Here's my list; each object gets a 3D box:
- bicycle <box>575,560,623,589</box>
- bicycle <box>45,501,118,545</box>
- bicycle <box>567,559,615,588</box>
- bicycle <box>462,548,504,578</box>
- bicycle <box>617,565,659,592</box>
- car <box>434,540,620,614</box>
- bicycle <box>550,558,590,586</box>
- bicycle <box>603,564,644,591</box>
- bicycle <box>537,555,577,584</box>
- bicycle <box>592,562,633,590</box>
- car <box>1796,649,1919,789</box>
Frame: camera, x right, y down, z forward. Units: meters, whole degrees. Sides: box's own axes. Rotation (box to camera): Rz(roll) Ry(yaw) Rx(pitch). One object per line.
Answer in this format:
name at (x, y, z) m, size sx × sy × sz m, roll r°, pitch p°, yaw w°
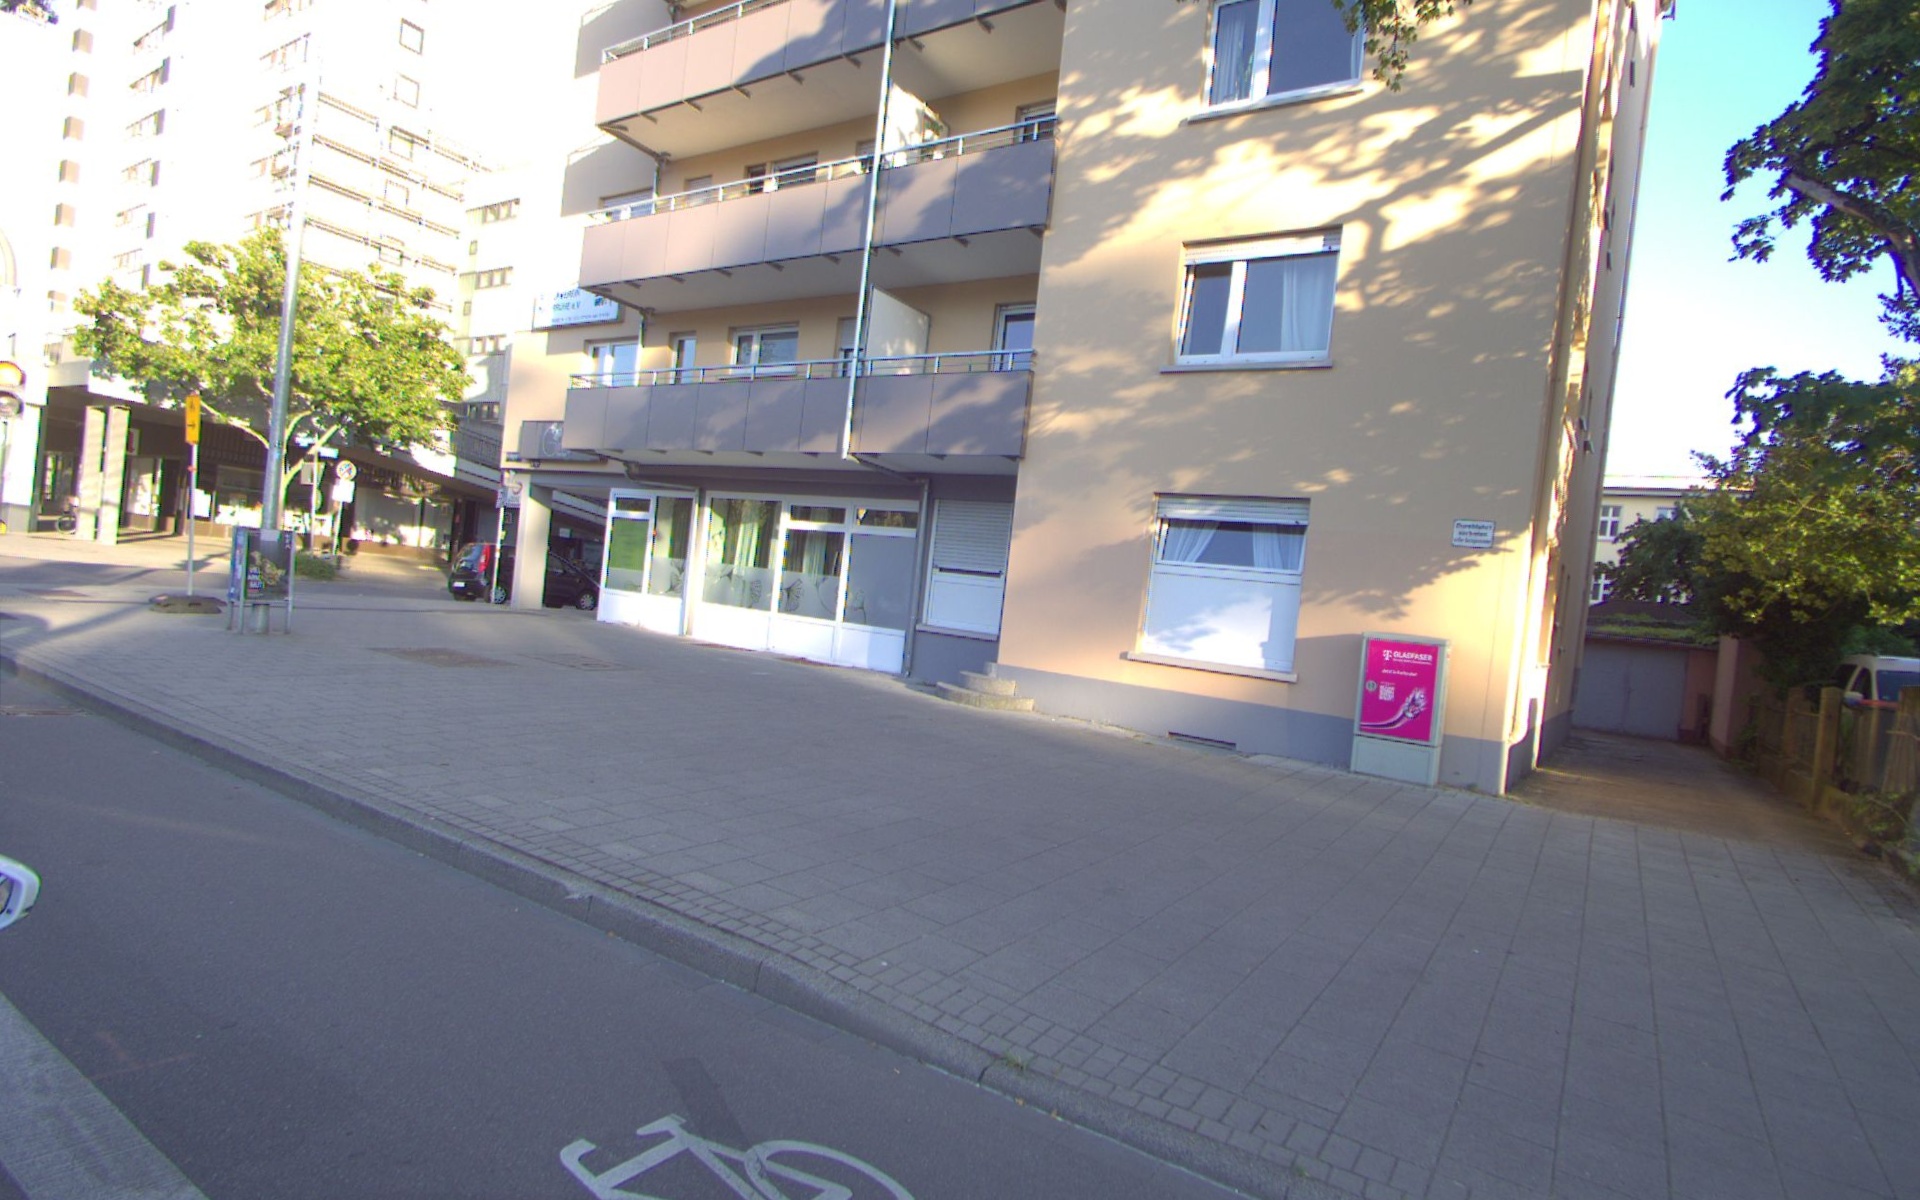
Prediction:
bicycle at (-16.812, -1.184, 46.820) m, size 1.939 × 1.086 × 0.584 m, roll 7°, pitch -2°, yaw 9°
bicycle at (-29.051, -2.540, 33.261) m, size 1.984 × 1.162 × 0.692 m, roll 7°, pitch -2°, yaw 14°
bicycle at (-17.005, -1.214, 46.379) m, size 1.939 × 1.086 × 0.584 m, roll 7°, pitch -2°, yaw 13°
bicycle at (-20.217, -1.586, 42.629) m, size 1.946 × 1.086 × 0.581 m, roll 5°, pitch -3°, yaw 35°
bicycle at (-15.382, -1.030, 48.014) m, size 1.942 × 1.086 × 0.583 m, roll 6°, pitch -3°, yaw 26°
car at (-11.002, -0.539, 25.792) m, size 1.680 × 1.605 × 4.037 m, roll 3°, pitch -1°, yaw 37°
bicycle at (-17.395, -1.250, 44.827) m, size 1.946 × 1.086 × 0.581 m, roll 5°, pitch -3°, yaw 35°
bicycle at (-15.958, -1.077, 47.665) m, size 1.943 × 1.086 × 0.582 m, roll 6°, pitch -3°, yaw 29°
bicycle at (-17.812, -1.344, 44.441) m, size 1.946 × 1.086 × 0.581 m, roll 5°, pitch -3°, yaw 35°
bicycle at (-16.326, -1.113, 47.229) m, size 1.943 × 1.086 × 0.582 m, roll 6°, pitch -3°, yaw 29°
car at (14.389, 1.760, 15.049) m, size 1.794 × 1.780 × 4.513 m, roll 8°, pitch 2°, yaw 28°
